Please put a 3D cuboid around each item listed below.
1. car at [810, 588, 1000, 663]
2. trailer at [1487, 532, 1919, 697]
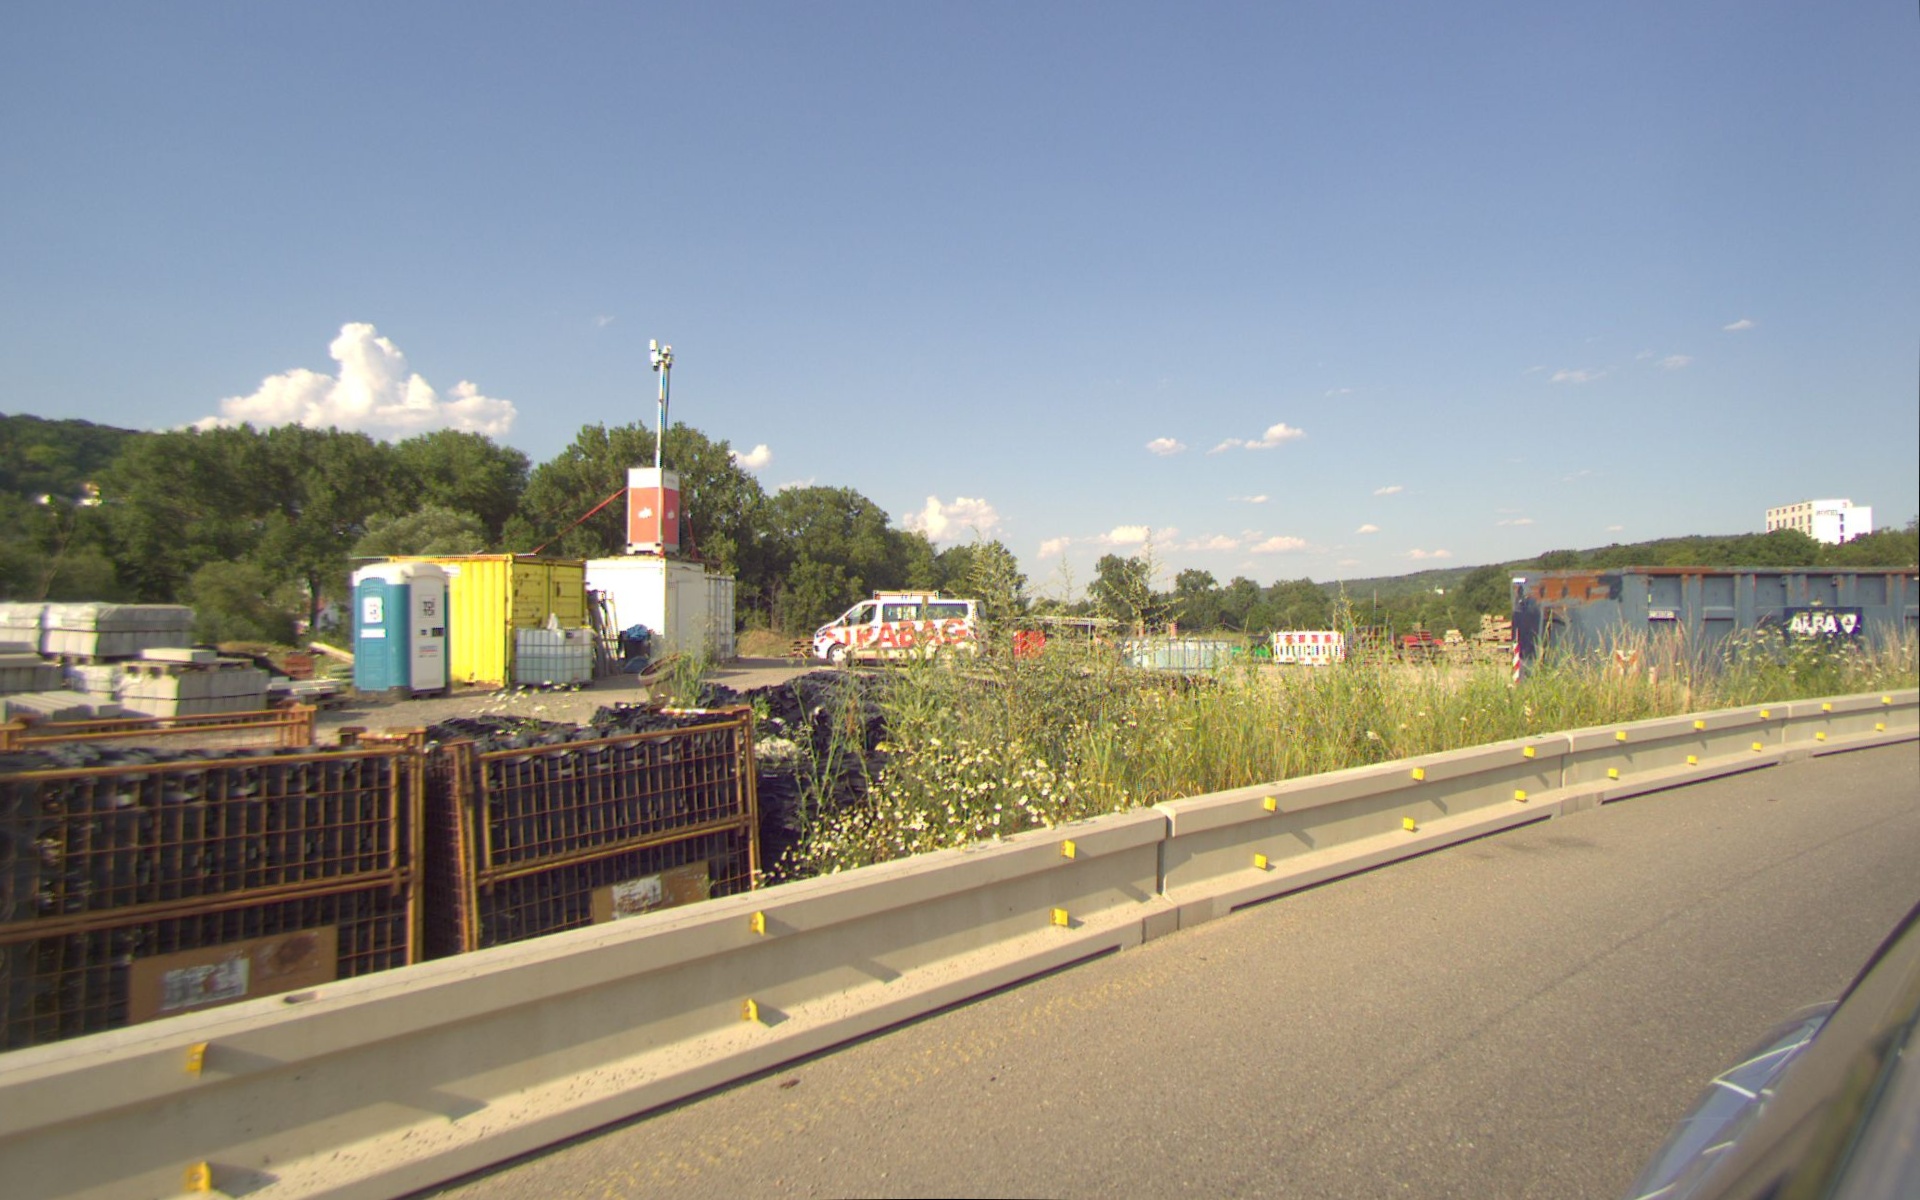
[{"bbox_3d":[-1.581,0.749,30.214,5.236,2.105,2.479,-1,-1,11],"label":"car"},{"bbox_3d":[13.141,0.208,17.065,7.079,2.445,3.018,-1,-1,-10],"label":"trailer"}]
